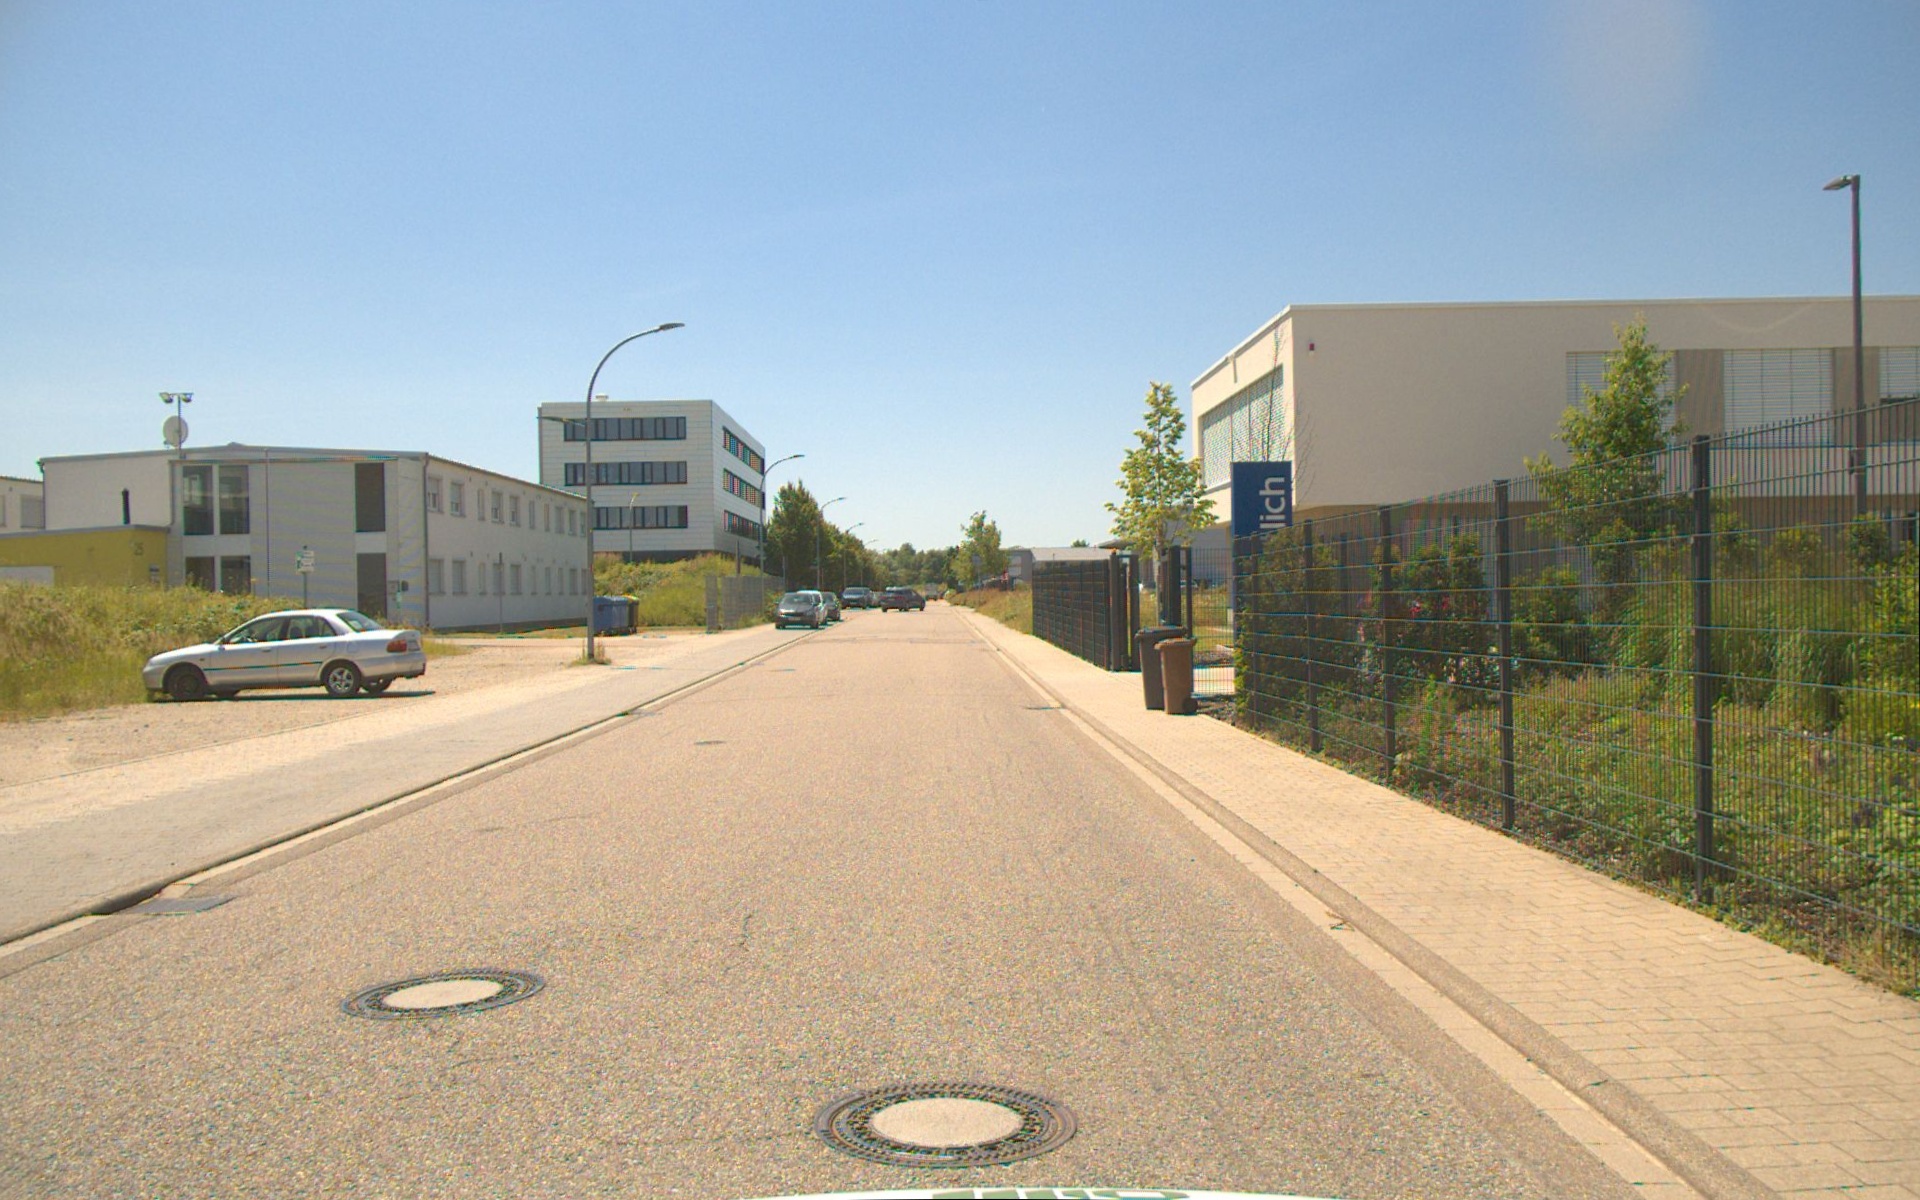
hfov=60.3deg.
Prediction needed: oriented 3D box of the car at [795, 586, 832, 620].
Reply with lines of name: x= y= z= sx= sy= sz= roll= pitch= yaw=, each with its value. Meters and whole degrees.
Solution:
car: x=-6.680 y=0.132 z=75.624 sx=1.437 sy=1.516 sz=3.207 roll=-1 pitch=0 yaw=-1

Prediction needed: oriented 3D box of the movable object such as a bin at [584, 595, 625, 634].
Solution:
movable object such as a bin: x=-13.364 y=0.534 z=62.205 sx=1.260 sy=1.436 sz=1.805 roll=-1 pitch=0 yaw=-5

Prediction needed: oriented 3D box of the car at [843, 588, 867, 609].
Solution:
car: x=-7.839 y=-0.132 z=123.588 sx=1.611 sy=1.516 sz=3.207 roll=-1 pitch=0 yaw=-1

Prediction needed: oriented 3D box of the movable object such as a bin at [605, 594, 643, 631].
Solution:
movable object such as a bin: x=-13.355 y=0.494 z=65.796 sx=1.260 sy=1.436 sz=1.805 roll=-1 pitch=0 yaw=-5

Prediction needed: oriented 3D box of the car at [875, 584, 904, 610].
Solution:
car: x=-4.653 y=-0.197 z=109.681 sx=1.789 sy=1.671 sz=3.207 roll=-1 pitch=0 yaw=-1

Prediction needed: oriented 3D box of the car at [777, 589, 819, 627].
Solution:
car: x=-6.712 y=0.315 z=68.629 sx=1.437 sy=1.516 sz=3.207 roll=-1 pitch=0 yaw=-1

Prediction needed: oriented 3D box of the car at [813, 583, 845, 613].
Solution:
car: x=-6.678 y=-0.113 z=84.518 sx=1.437 sy=1.516 sz=3.207 roll=-1 pitch=0 yaw=-1

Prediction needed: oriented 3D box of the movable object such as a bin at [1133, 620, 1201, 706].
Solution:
movable object such as a bin: x=2.747 y=0.834 z=22.009 sx=0.763 sy=1.037 sz=0.665 roll=-5 pitch=1 yaw=3

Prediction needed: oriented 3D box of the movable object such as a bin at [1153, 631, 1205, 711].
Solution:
movable object such as a bin: x=2.779 y=0.897 z=21.028 sx=0.541 sy=0.944 sz=0.522 roll=-5 pitch=1 yaw=3

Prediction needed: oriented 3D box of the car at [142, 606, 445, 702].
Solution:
car: x=-10.909 y=0.859 z=27.289 sx=4.191 sy=1.388 sz=1.897 roll=-2 pitch=0 yaw=-1
